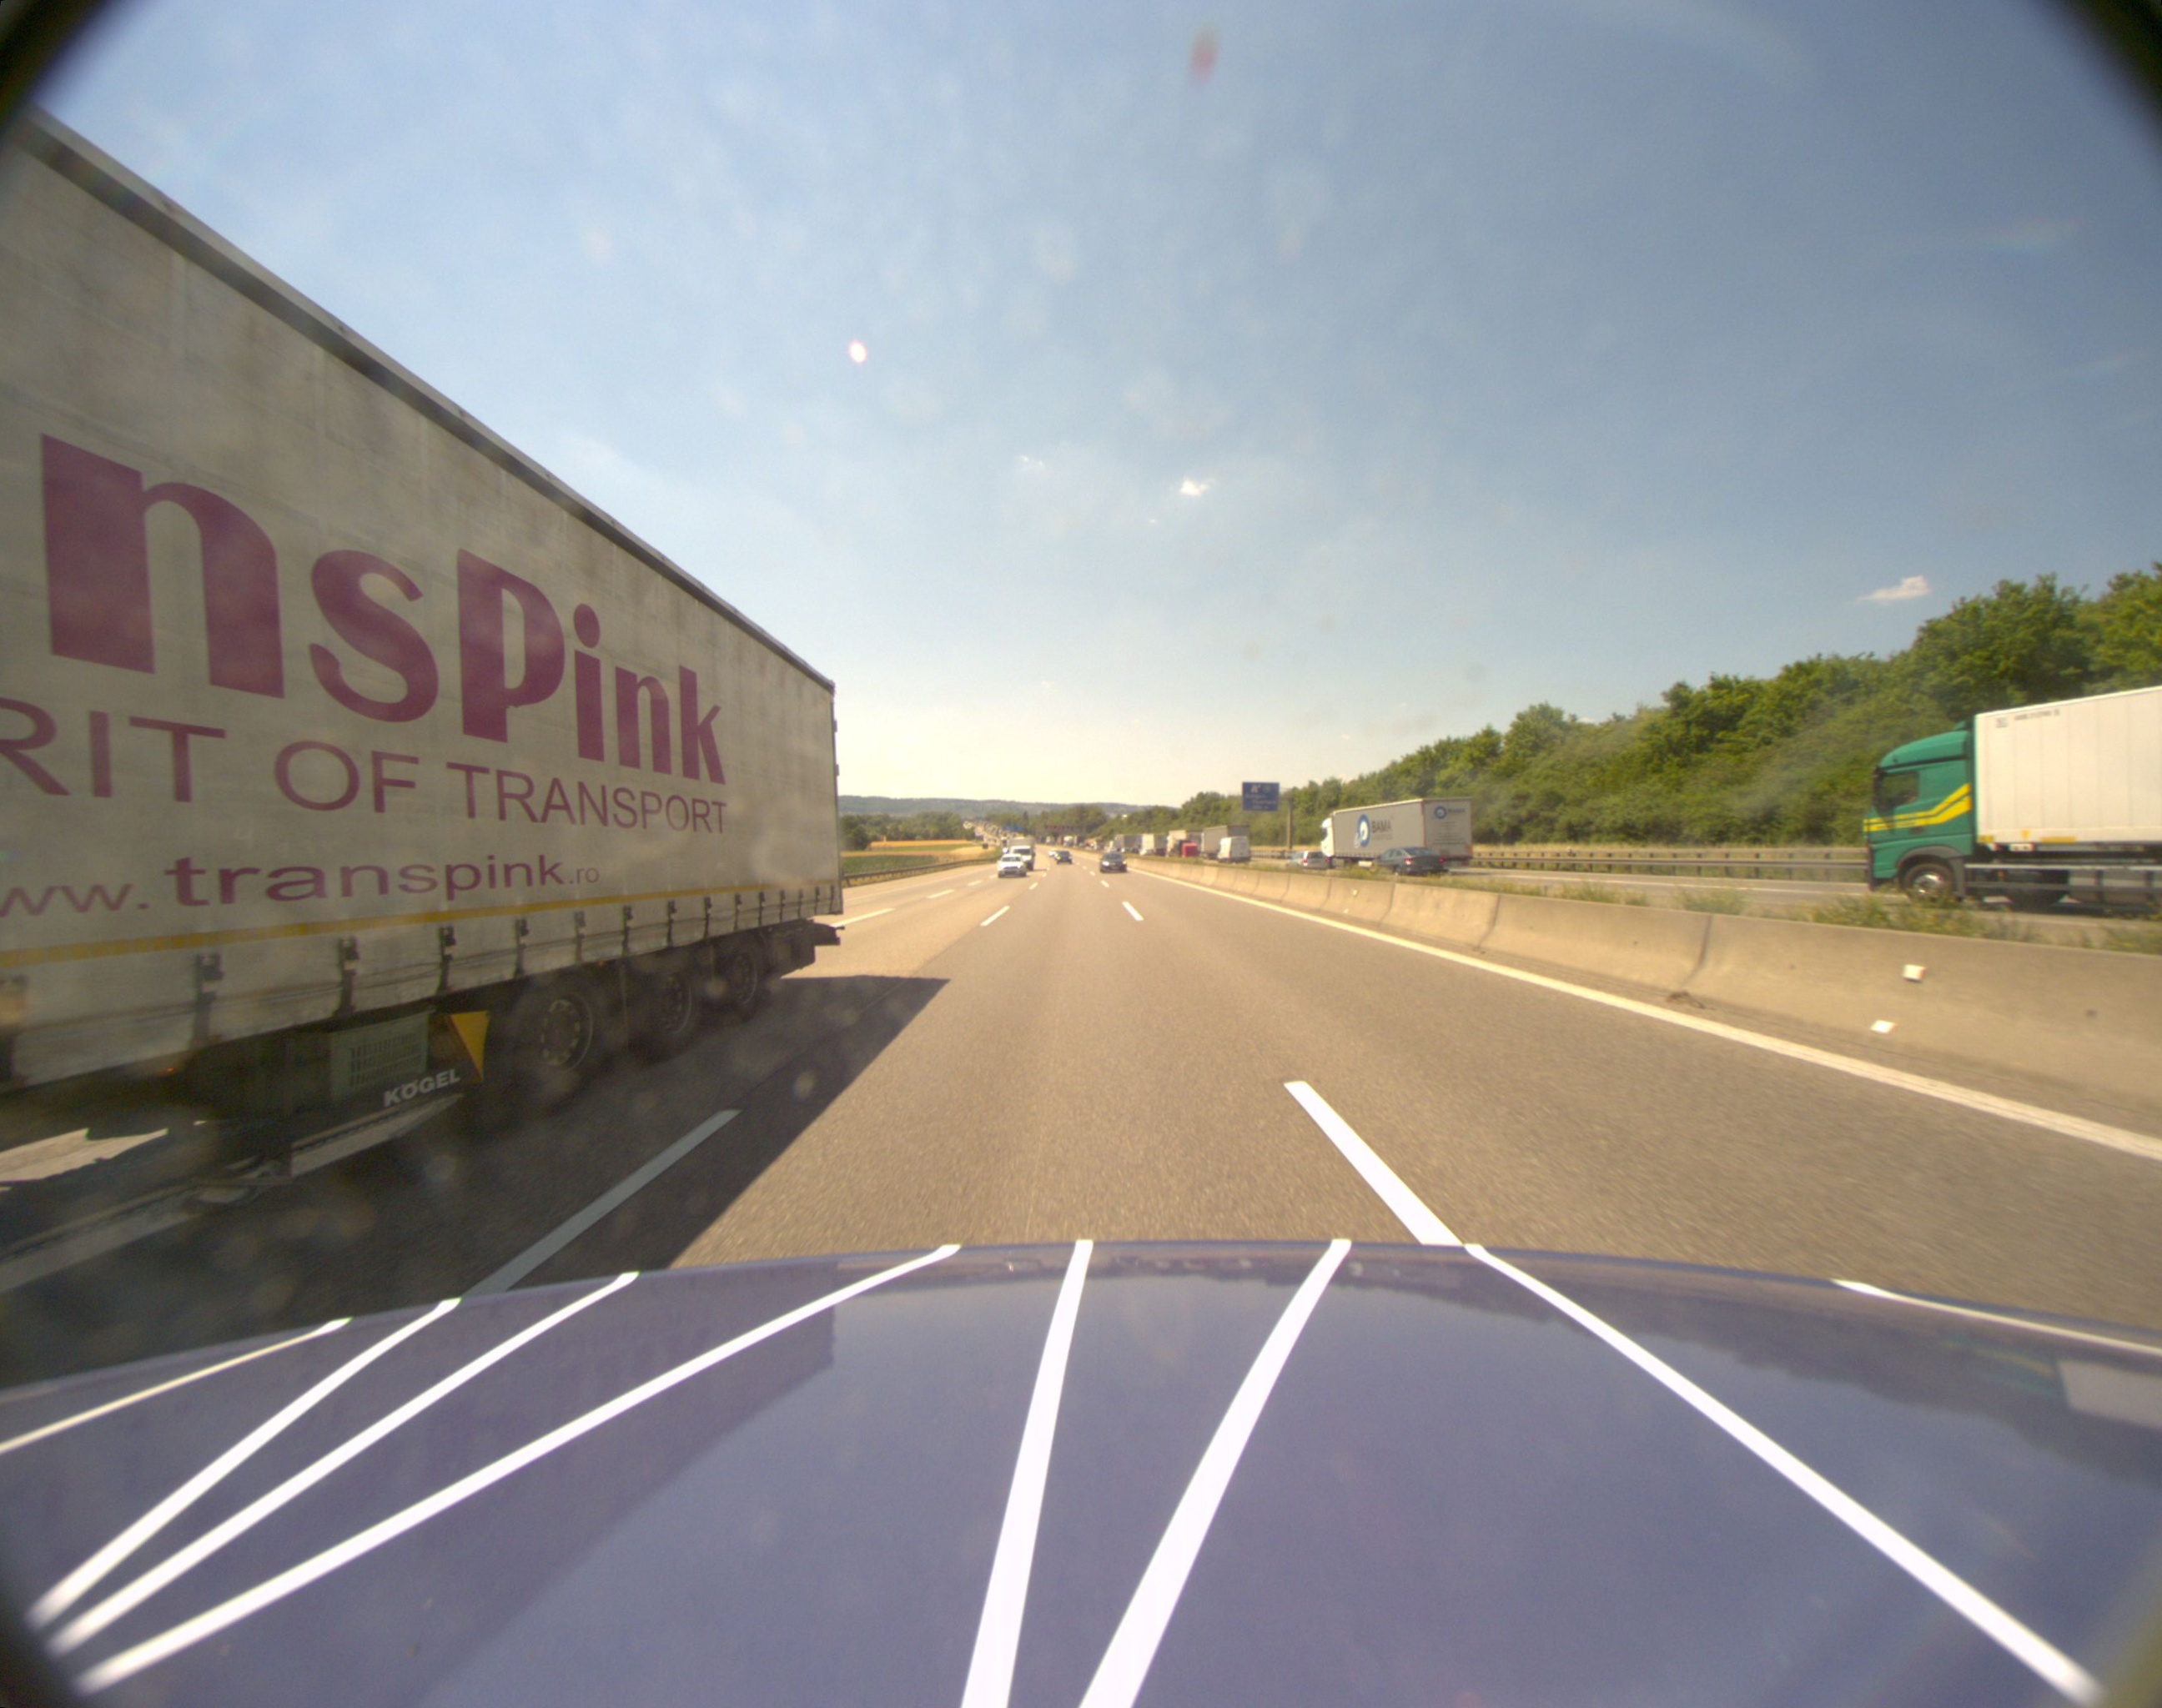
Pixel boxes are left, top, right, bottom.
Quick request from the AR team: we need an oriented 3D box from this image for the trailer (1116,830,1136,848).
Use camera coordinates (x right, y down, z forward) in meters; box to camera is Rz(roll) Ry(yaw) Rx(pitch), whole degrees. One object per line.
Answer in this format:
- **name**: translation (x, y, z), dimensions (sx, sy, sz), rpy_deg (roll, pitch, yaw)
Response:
- **trailer**: translation (11.325, -3.849, 191.816), dimensions (3.231, 4.396, 13.770), rpy_deg (-1, 1, -4)

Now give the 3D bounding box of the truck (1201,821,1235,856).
- **truck**: translation (17.561, -2.006, 97.819), dimensions (2.969, 4.186, 6.601), rpy_deg (-2, 1, -1)

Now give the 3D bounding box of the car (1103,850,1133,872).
- **car**: translation (2.703, 0.537, 56.740), dimensions (1.808, 1.534, 4.749), rpy_deg (-1, -1, -2)

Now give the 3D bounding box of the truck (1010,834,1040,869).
- **truck**: translation (-5.277, -0.286, 70.189), dimensions (2.446, 3.011, 6.911), rpy_deg (-2, 2, -6)

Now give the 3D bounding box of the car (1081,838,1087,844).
- **car**: translation (1.110, -4.263, 251.299), dimensions (1.846, 1.668, 4.440), rpy_deg (-1, 2, -1)

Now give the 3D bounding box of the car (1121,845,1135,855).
- **car**: translation (8.314, -0.727, 133.894), dimensions (1.937, 1.679, 4.794), rpy_deg (-1, 1, -3)

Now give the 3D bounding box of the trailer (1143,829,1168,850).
- **trailer**: translation (14.578, -2.913, 149.672), dimensions (2.911, 3.851, 13.869), rpy_deg (-2, 1, -3)

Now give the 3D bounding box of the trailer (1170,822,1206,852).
- **trailer**: translation (16.434, -2.578, 117.437), dimensions (2.819, 4.254, 13.862), rpy_deg (-2, 1, -3)

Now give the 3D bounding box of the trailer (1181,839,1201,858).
- **trailer**: translation (13.458, -0.678, 93.421), dimensions (1.574, 2.240, 3.960), rpy_deg (-1, 1, -4)

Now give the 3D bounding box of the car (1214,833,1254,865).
- **car**: translation (14.258, -0.558, 71.226), dimensions (2.145, 2.770, 6.621), rpy_deg (-2, 2, -2)

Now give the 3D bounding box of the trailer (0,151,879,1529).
- **trailer**: translation (-4.684, -0.065, 4.982), dimensions (2.926, 4.094, 13.855), rpy_deg (-2, 1, 0)

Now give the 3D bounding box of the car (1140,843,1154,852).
- **car**: translation (11.342, -1.102, 130.680), dimensions (1.886, 1.466, 4.404), rpy_deg (-2, 2, -3)

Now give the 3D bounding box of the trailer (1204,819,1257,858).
- **trailer**: translation (17.784, -1.879, 91.671), dimensions (2.990, 4.182, 14.187), rpy_deg (-2, 1, -2)

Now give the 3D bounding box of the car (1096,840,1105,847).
- **car**: translation (5.456, -3.007, 213.246), dimensions (2.113, 1.713, 4.927), rpy_deg (-1, 2, -6)

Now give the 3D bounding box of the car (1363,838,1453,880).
- **car**: translation (14.916, 0.161, 34.980), dimensions (1.866, 1.632, 5.111), rpy_deg (-1, 2, -1)

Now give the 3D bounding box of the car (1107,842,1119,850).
- **car**: translation (6.460, -1.658, 154.523), dimensions (1.999, 1.634, 4.403), rpy_deg (-2, 2, -4)

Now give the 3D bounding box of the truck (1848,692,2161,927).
- **truck**: translation (19.233, -0.740, 12.045), dimensions (2.850, 3.876, 11.246), rpy_deg (0, 0, 0)

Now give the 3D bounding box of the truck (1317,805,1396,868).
- **truck**: translation (18.783, -1.184, 52.246), dimensions (2.860, 4.013, 6.602), rpy_deg (-1, 1, -1)

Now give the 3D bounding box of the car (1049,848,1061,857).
- **car**: translation (-5.092, -0.247, 146.536), dimensions (1.999, 1.467, 3.996), rpy_deg (-2, 2, -6)

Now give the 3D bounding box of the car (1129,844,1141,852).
- **car**: translation (10.724, -1.206, 151.255), dimensions (1.882, 1.426, 4.922), rpy_deg (-2, 1, -4)

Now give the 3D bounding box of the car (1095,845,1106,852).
- **car**: translation (4.695, -1.415, 183.673), dimensions (1.999, 1.570, 4.592), rpy_deg (-2, 1, -4)

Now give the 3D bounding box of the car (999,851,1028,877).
- **car**: translation (-4.782, 0.674, 54.052), dimensions (1.837, 1.636, 4.170), rpy_deg (-2, 2, -3)

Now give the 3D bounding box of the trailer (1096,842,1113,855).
- **trailer**: translation (6.269, -1.566, 205.645), dimensions (2.878, 3.166, 10.719), rpy_deg (-2, 2, -6)

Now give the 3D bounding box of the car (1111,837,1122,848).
- **car**: translation (8.459, -2.758, 182.537), dimensions (1.903, 2.559, 7.568), rpy_deg (-2, 1, -3)

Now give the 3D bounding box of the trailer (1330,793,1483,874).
- **trailer**: translation (18.841, -1.107, 45.668), dimensions (2.910, 4.063, 14.442), rpy_deg (-1, 1, 0)

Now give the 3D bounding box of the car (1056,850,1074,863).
- **car**: translation (-2.010, 0.249, 92.645), dimensions (1.866, 1.426, 3.997), rpy_deg (-1, 2, -5)

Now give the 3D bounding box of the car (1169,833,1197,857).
- **car**: translation (13.197, -1.170, 98.508), dimensions (2.243, 2.997, 6.548), rpy_deg (-1, 1, -4)

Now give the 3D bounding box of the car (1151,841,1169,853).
- **car**: translation (12.482, -1.126, 120.519), dimensions (1.999, 1.706, 4.789), rpy_deg (-2, 1, -3)

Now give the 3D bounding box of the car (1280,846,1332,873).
- **car**: translation (14.384, 0.303, 48.884), dimensions (1.756, 1.452, 4.856), rpy_deg (-2, 2, -1)

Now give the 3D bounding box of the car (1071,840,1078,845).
- **car**: translation (-2.294, -3.827, 254.012), dimensions (2.000, 1.512, 4.304), rpy_deg (-1, 2, -6)

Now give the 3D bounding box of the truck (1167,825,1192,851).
- **truck**: translation (16.063, -2.534, 124.165), dimensions (2.763, 4.020, 6.096), rpy_deg (-2, 1, -4)

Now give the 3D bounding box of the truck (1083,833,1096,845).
- **truck**: translation (2.879, -5.027, 259.010), dimensions (3.018, 3.895, 10.347), rpy_deg (-1, 2, -6)

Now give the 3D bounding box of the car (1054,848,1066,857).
- **car**: translation (-3.281, -0.274, 118.747), dimensions (1.866, 1.322, 3.998), rpy_deg (-1, 2, -1)
